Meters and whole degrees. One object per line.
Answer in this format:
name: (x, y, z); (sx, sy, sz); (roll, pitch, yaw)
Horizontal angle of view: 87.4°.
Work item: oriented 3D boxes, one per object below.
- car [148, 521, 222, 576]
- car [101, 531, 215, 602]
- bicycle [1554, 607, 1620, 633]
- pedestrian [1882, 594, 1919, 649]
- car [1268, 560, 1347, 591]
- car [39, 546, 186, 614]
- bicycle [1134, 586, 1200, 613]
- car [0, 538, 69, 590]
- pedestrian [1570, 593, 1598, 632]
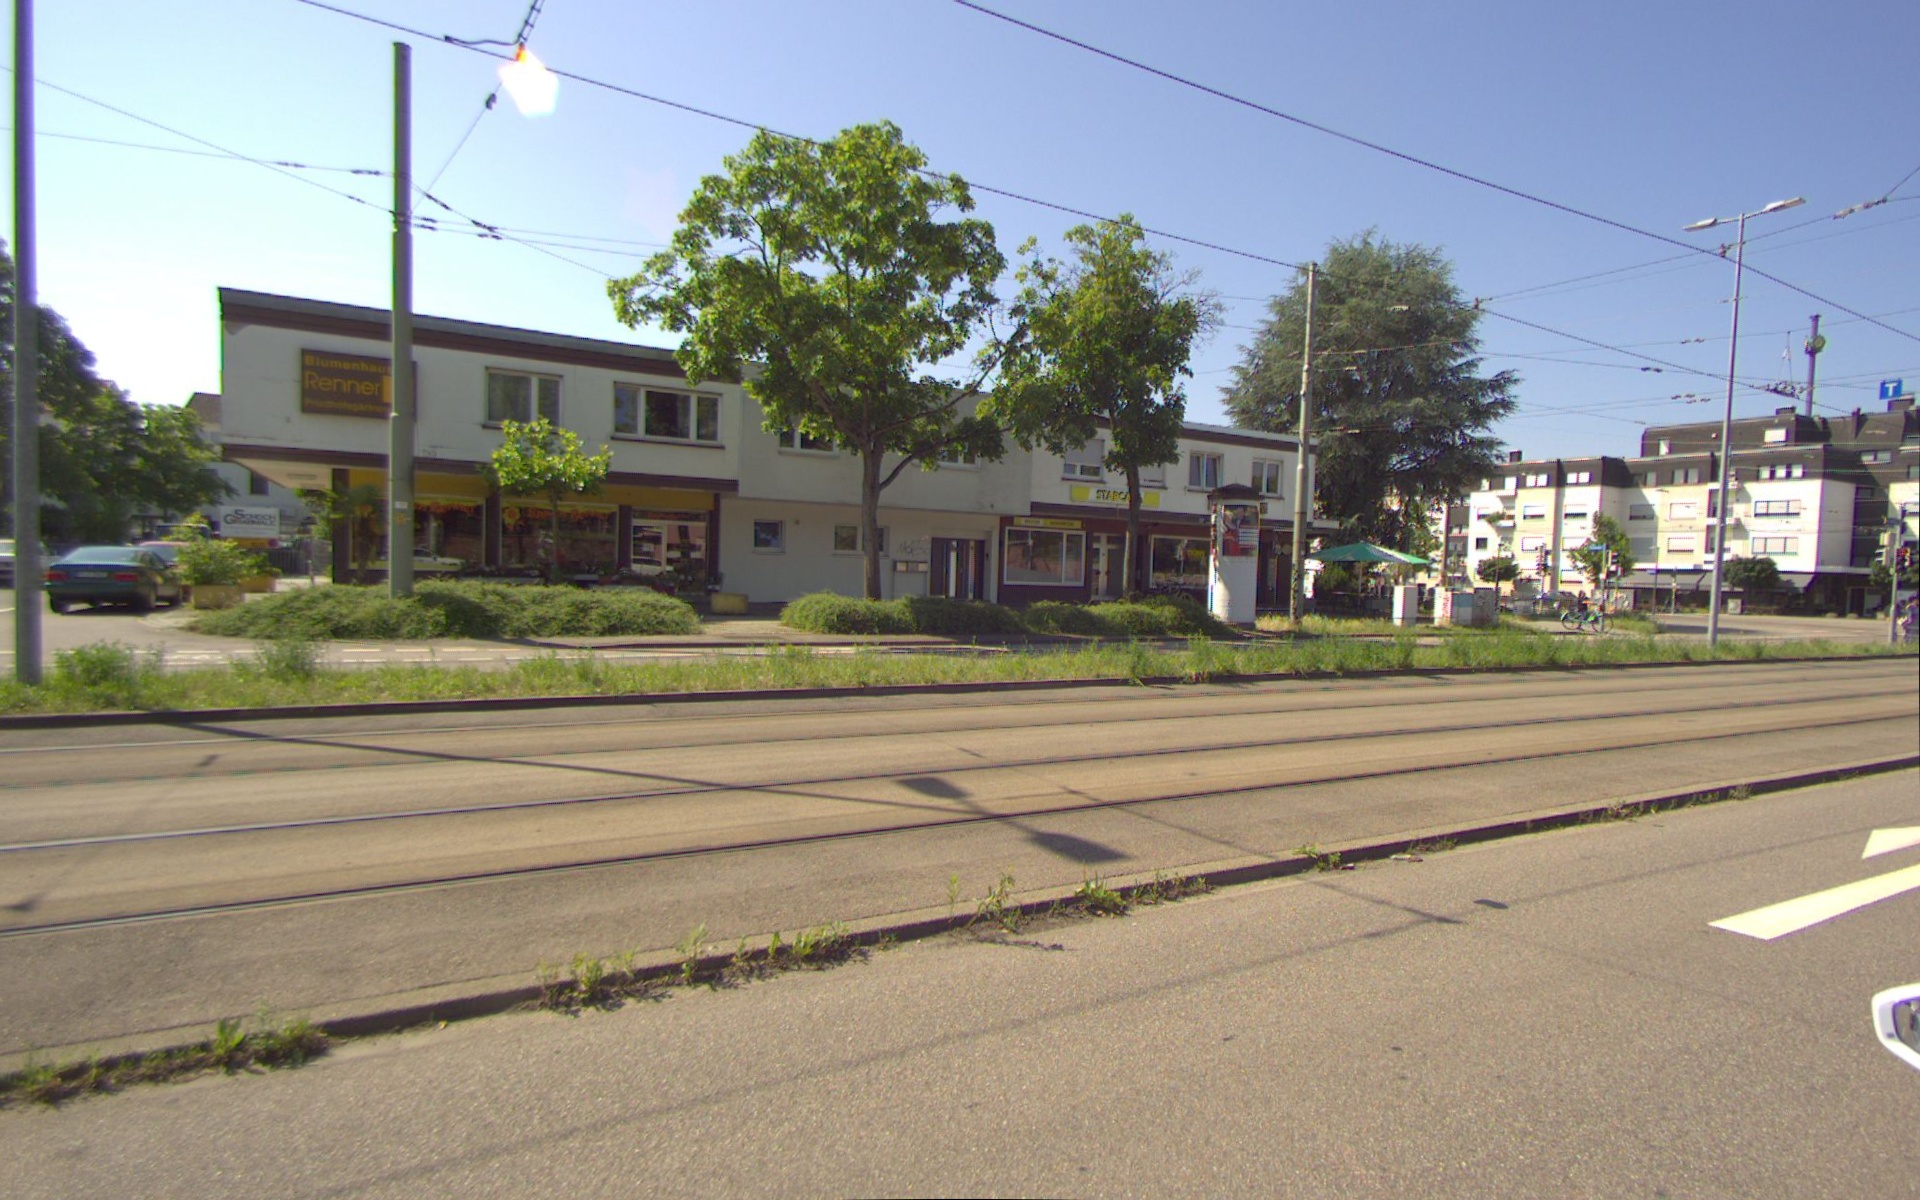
car: (-34.162, -2.249, 44.404); (2.077, 2.203, 4.901); (1, 2, -32)
car: (-21.527, -0.916, 27.130); (1.676, 1.759, 4.129); (1, 2, -28)
bicycle: (24.819, 0.772, 39.786); (2.134, 0.934, 0.553); (2, 2, 18)
pedestrian: (30.859, 0.698, 32.861); (0.923, 1.762, 0.820); (0, 2, -38)
car: (26.807, -1.929, 77.673); (2.224, 2.041, 5.524); (1, 4, -31)
car: (-18.738, -0.479, 22.400); (1.676, 1.363, 4.129); (1, 2, -28)
bicycle: (7.440, -0.001, 36.015); (2.362, 0.900, 0.779); (1, 2, -30)
car: (-29.653, -1.147, 31.430); (1.889, 1.555, 3.966); (0, 2, -31)
pedestrian: (24.978, 0.480, 40.218); (0.800, 1.507, 0.566); (2, 2, 18)
